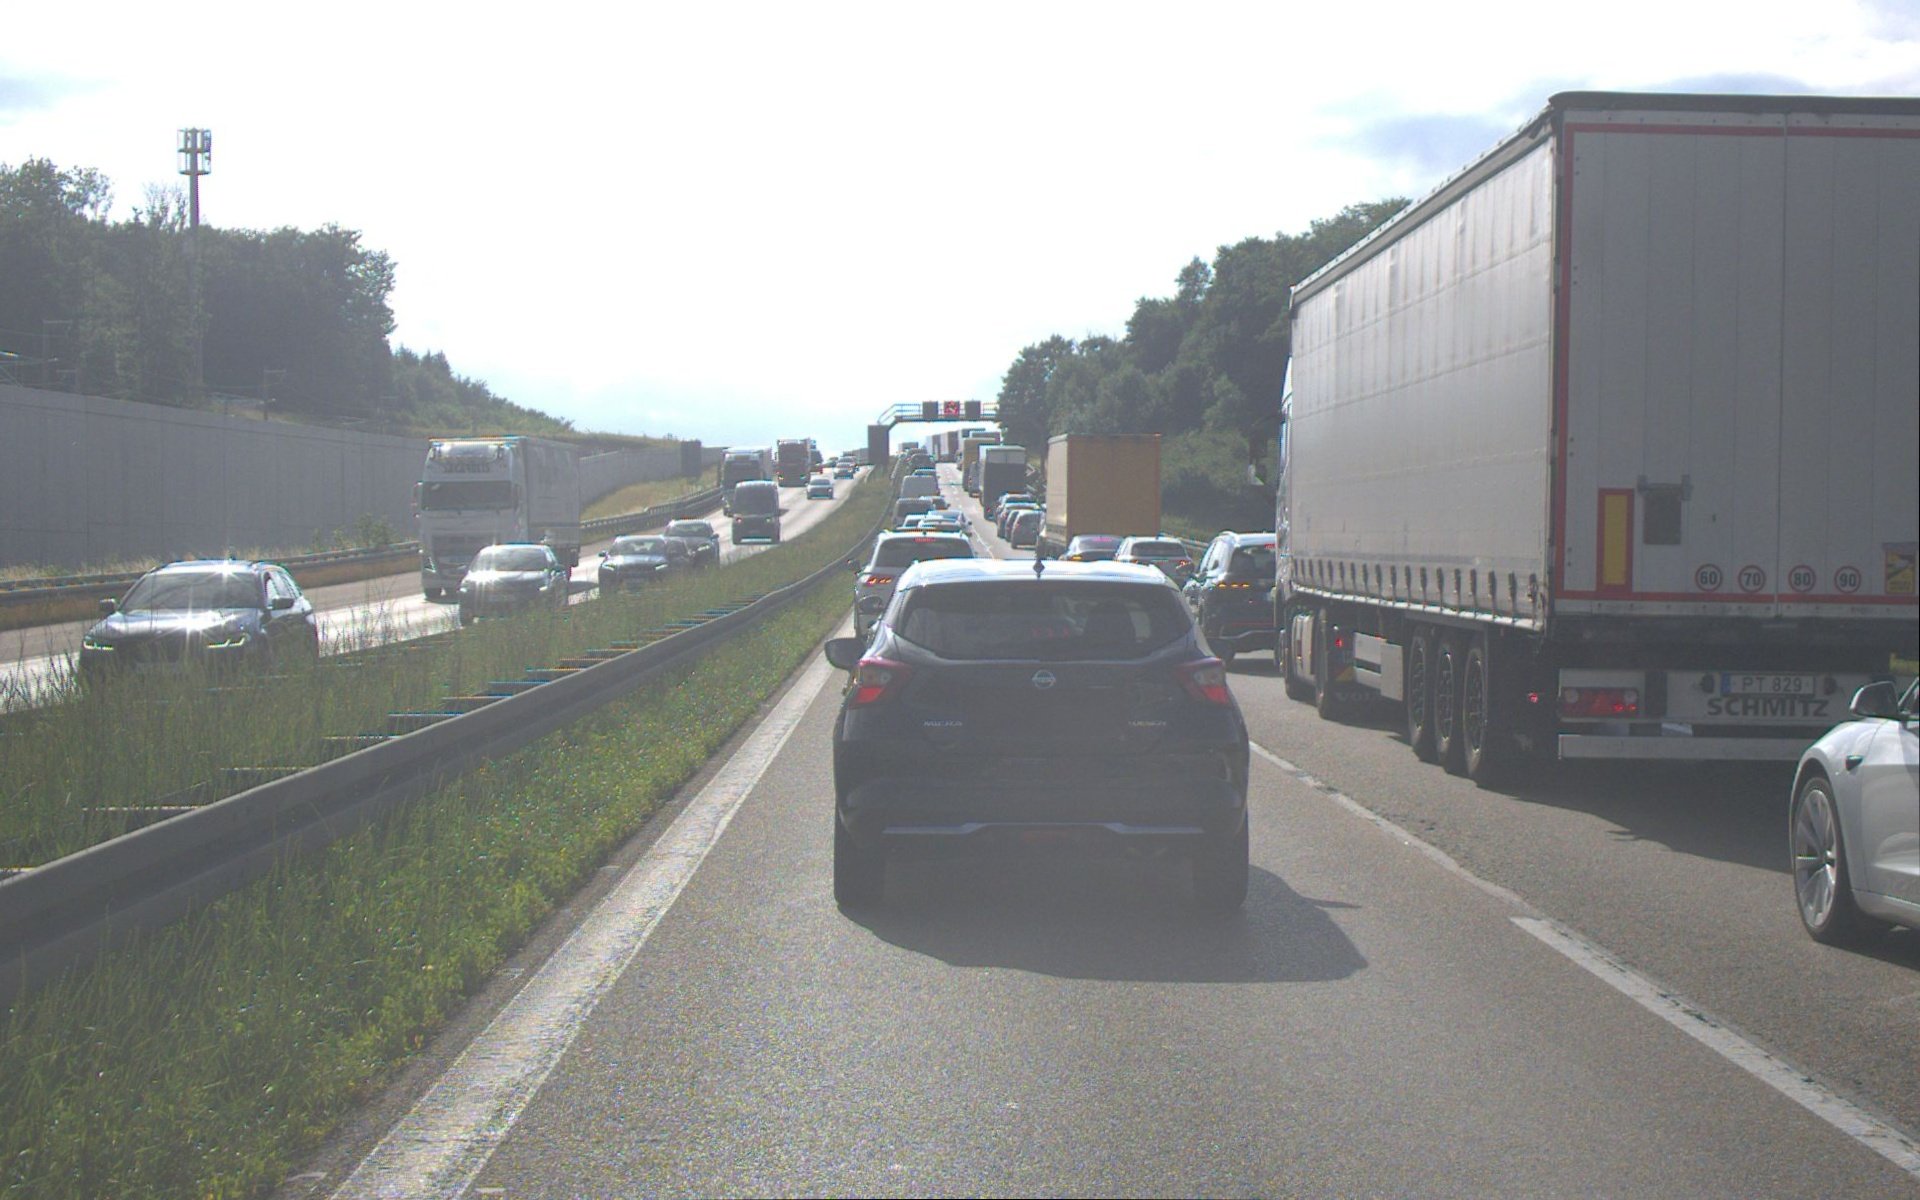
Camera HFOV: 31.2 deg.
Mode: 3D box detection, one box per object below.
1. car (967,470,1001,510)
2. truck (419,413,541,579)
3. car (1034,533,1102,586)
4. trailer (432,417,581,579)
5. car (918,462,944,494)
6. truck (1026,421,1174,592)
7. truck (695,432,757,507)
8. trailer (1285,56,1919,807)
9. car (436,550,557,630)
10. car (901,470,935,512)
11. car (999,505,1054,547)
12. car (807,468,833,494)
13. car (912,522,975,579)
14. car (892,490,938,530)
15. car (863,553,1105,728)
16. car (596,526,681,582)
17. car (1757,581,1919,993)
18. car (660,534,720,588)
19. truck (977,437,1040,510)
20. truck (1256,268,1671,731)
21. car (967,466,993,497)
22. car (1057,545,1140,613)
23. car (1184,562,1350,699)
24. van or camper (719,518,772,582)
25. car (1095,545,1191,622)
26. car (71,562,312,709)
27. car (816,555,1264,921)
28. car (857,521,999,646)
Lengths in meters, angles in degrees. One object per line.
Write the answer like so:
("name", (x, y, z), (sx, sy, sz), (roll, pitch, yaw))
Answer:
("car", (1.352, -6.341, 198.009), (1.873, 2.151, 5.212), (0, 3, -1))
("truck", (-12.478, -2.664, 89.784), (2.380, 4.167, 5.932), (-1, 1, -1))
("car", (3.427, -1.323, 110.071), (1.873, 1.638, 4.233), (0, 1, -2))
("trailer", (-12.493, -2.725, 95.770), (2.389, 4.168, 13.204), (-1, 1, 0))
("car", (-2.113, -8.899, 249.994), (1.873, 2.151, 5.212), (0, 3, -1))
("truck", (3.897, -2.536, 98.753), (3.296, 4.562, 12.441), (1, 0, -2))
("truck", (-14.981, -8.316, 220.783), (3.297, 4.561, 12.442), (0, 1, -1))
("trailer", (4.590, -0.875, 25.094), (3.130, 3.997, 13.366), (1, 0, 0))
("car", (-8.816, -0.193, 65.613), (1.769, 1.474, 3.829), (0, 0, 0))
("car", (-2.307, -6.011, 189.159), (1.873, 2.151, 5.212), (0, 3, -1))
("car", (2.716, -3.052, 140.874), (1.873, 1.638, 4.233), (0, 2, -4))
("car", (-10.209, -8.683, 250.844), (1.744, 1.700, 4.233), (-5, 2, -2))
("car", (-0.504, -1.528, 105.071), (1.873, 1.638, 4.233), (0, 2, 0))
("car", (-1.902, -3.805, 144.948), (1.873, 1.638, 4.233), (0, 2, -2))
("car", (0.172, 0.289, 28.825), (1.873, 1.353, 4.232), (0, 1, 0))
("car", (-7.975, -1.145, 85.470), (1.742, 1.353, 4.232), (0, 1, 0))
("car", (4.187, 0.656, 11.588), (1.788, 1.389, 4.437), (0, 1, -2))
("car", (-8.783, -1.265, 112.061), (1.708, 1.700, 4.174), (0, 1, -1))
("truck", (3.123, -8.222, 223.910), (3.464, 4.561, 12.443), (1, 2, -2))
("truck", (4.605, -0.873, 32.506), (3.133, 4.002, 5.163), (1, 0, 0))
("car", (1.465, -8.738, 252.916), (1.873, 2.151, 5.212), (0, 3, -1))
("car", (3.431, -0.541, 85.873), (1.873, 1.638, 4.232), (0, 1, 0))
("car", (3.753, 0.340, 42.624), (1.697, 1.605, 4.437), (0, 1, 1))
("van or camper", (-9.702, -2.252, 155.761), (2.090, 2.810, 5.896), (1, 0, -1))
("car", (4.002, -0.372, 75.717), (1.873, 1.638, 4.232), (0, 1, 0))
("car", (-8.240, 0.337, 37.210), (1.697, 1.494, 4.427), (0, 1, -1))
("car", (0.305, 0.526, 15.782), (1.773, 1.446, 4.232), (0, 1, 0))
("car", (-0.434, -0.239, 47.506), (1.873, 1.638, 4.232), (0, 1, 0))
